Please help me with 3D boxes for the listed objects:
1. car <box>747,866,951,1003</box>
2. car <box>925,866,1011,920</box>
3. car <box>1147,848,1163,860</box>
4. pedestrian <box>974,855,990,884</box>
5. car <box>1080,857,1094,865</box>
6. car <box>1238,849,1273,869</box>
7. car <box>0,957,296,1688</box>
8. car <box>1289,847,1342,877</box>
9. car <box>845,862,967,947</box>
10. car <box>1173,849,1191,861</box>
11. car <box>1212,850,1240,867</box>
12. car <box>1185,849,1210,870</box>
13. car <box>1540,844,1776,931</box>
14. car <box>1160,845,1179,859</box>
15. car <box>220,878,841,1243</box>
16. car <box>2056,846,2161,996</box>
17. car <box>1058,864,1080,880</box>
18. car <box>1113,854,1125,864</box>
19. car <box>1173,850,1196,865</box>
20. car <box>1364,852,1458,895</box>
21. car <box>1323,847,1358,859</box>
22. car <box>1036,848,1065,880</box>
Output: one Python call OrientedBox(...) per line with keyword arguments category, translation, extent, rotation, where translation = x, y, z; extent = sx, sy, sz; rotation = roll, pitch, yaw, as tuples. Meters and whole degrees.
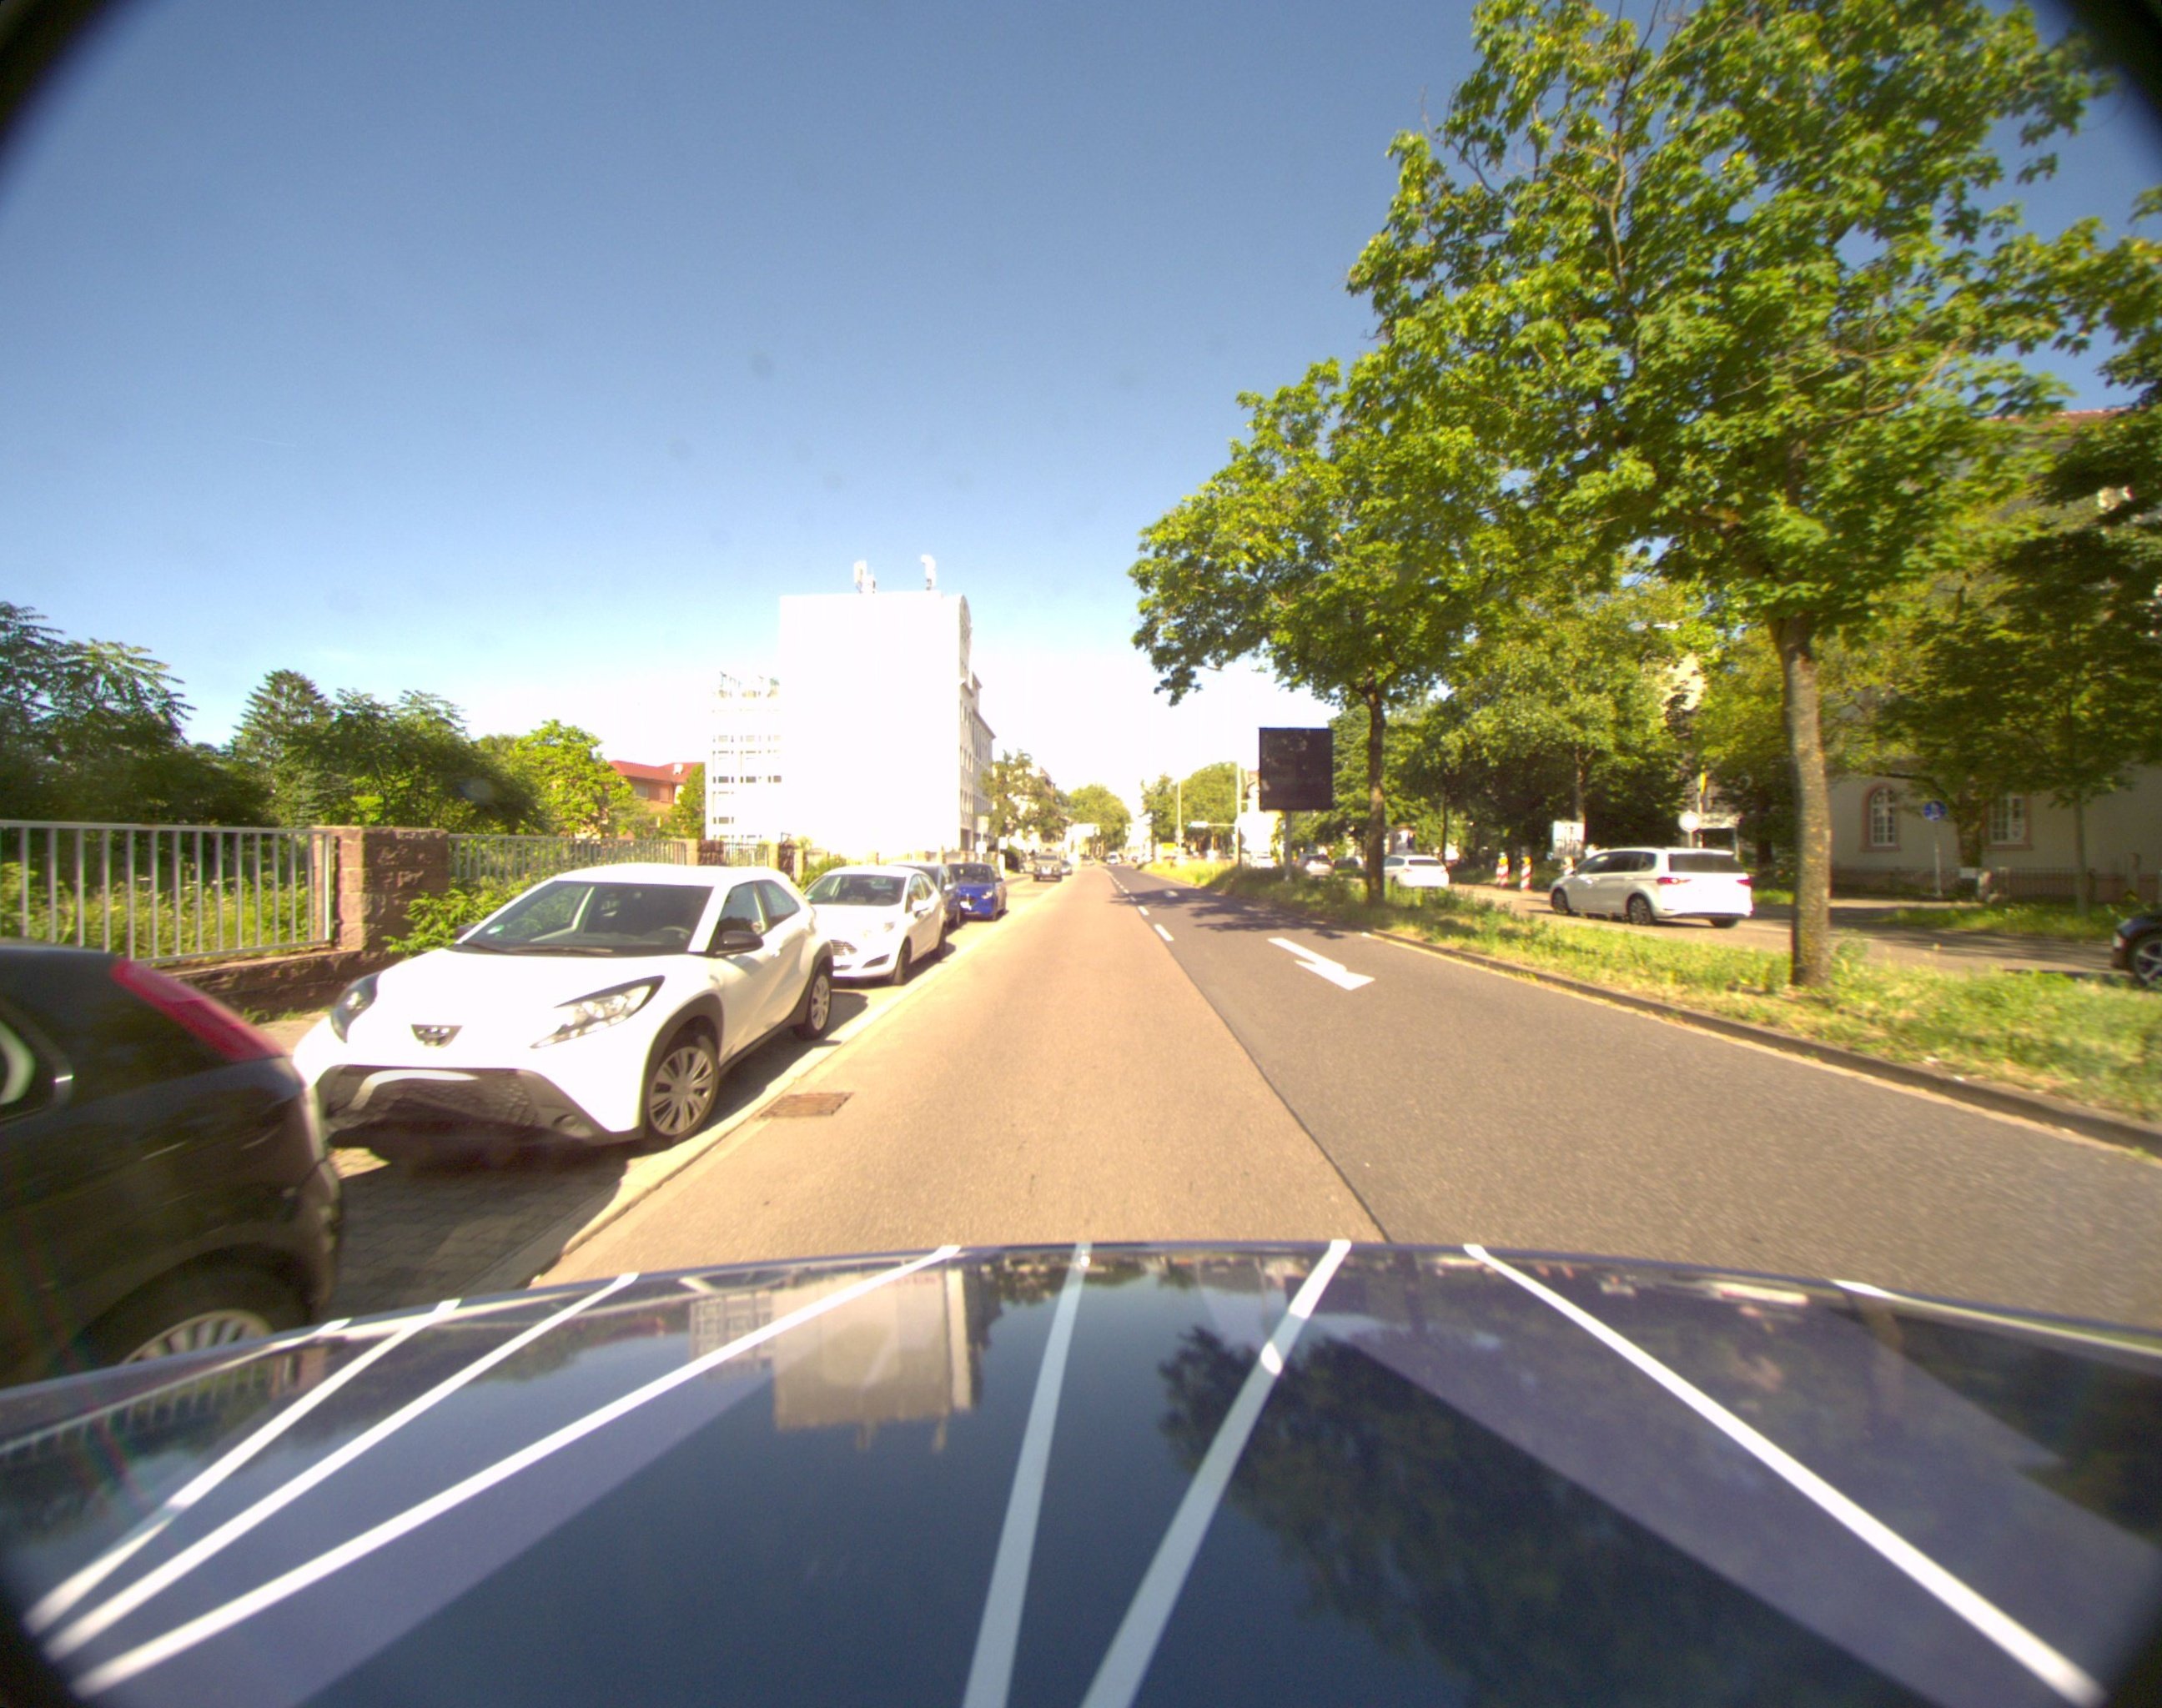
OrientedBox(category="car", translation=(-2.963, 0.950, 10.509), extent=(1.612, 1.437, 3.659), rotation=(3, 0, 1))
OrientedBox(category="car", translation=(-2.926, 0.978, 20.400), extent=(1.672, 1.175, 3.901), rotation=(3, 0, 0))
OrientedBox(category="car", translation=(12.078, -0.017, 124.040), extent=(2.239, 2.016, 5.017), rotation=(-1, 0, 1))
OrientedBox(category="pedestrian", translation=(-5.668, 0.880, 43.614), extent=(0.745, 1.574, 0.897), rotation=(-2, 1, 1))
OrientedBox(category="car", translation=(1.109, 1.281, 139.938), extent=(1.882, 1.510, 4.002), rotation=(-1, 1, 8))
OrientedBox(category="car", translation=(13.783, 0.399, 60.330), extent=(1.800, 1.510, 4.258), rotation=(-1, 0, 1))
OrientedBox(category="car", translation=(-3.008, 0.973, 0.192), extent=(1.672, 1.385, 3.775), rotation=(0, 0, 1))
OrientedBox(category="car", translation=(13.476, 0.439, 43.920), extent=(1.800, 1.510, 4.257), rotation=(-2, 2, 2))
OrientedBox(category="car", translation=(-3.489, 0.942, 15.834), extent=(1.672, 1.451, 3.985), rotation=(3, 0, -2))
OrientedBox(category="car", translation=(14.094, 0.128, 106.309), extent=(1.800, 1.733, 5.031), rotation=(-1, 0, 1))
OrientedBox(category="car", translation=(13.949, 0.414, 73.336), extent=(1.800, 1.510, 4.444), rotation=(-1, 1, 1))
OrientedBox(category="car", translation=(10.693, 0.465, 69.882), extent=(1.757, 1.609, 4.321), rotation=(-2, 3, 1))
OrientedBox(category="car", translation=(12.197, 0.612, 16.533), extent=(1.905, 1.616, 4.538), rotation=(0, 0, 4))
OrientedBox(category="car", translation=(10.666, -0.268, 92.045), extent=(1.800, 1.510, 4.346), rotation=(-2, 1, 1))
OrientedBox(category="car", translation=(-3.031, 0.980, 5.235), extent=(1.672, 1.510, 3.660), rotation=(0, 0, -2))
OrientedBox(category="car", translation=(11.664, 0.717, 6.428), extent=(1.799, 1.510, 4.088), rotation=(1, 1, 7))
OrientedBox(category="car", translation=(-1.080, 1.644, 70.924), extent=(1.641, 1.439, 4.158), rotation=(0, -1, 5))
OrientedBox(category="car", translation=(7.050, 0.943, 141.630), extent=(1.882, 1.511, 4.000), rotation=(-1, 3, 8))
OrientedBox(category="car", translation=(10.659, 0.307, 78.296), extent=(1.800, 1.510, 4.205), rotation=(-1, 0, 1))
OrientedBox(category="car", translation=(12.807, 0.698, 29.830), extent=(1.843, 1.510, 4.667), rotation=(0, 0, 3))
OrientedBox(category="car", translation=(39.809, -0.107, 116.633), extent=(4.704, 1.609, 1.919), rotation=(-1, 3, 10))
OrientedBox(category="car", translation=(-1.988, 0.630, 50.934), extent=(1.664, 2.002, 4.776), rotation=(1, 1, 1))
